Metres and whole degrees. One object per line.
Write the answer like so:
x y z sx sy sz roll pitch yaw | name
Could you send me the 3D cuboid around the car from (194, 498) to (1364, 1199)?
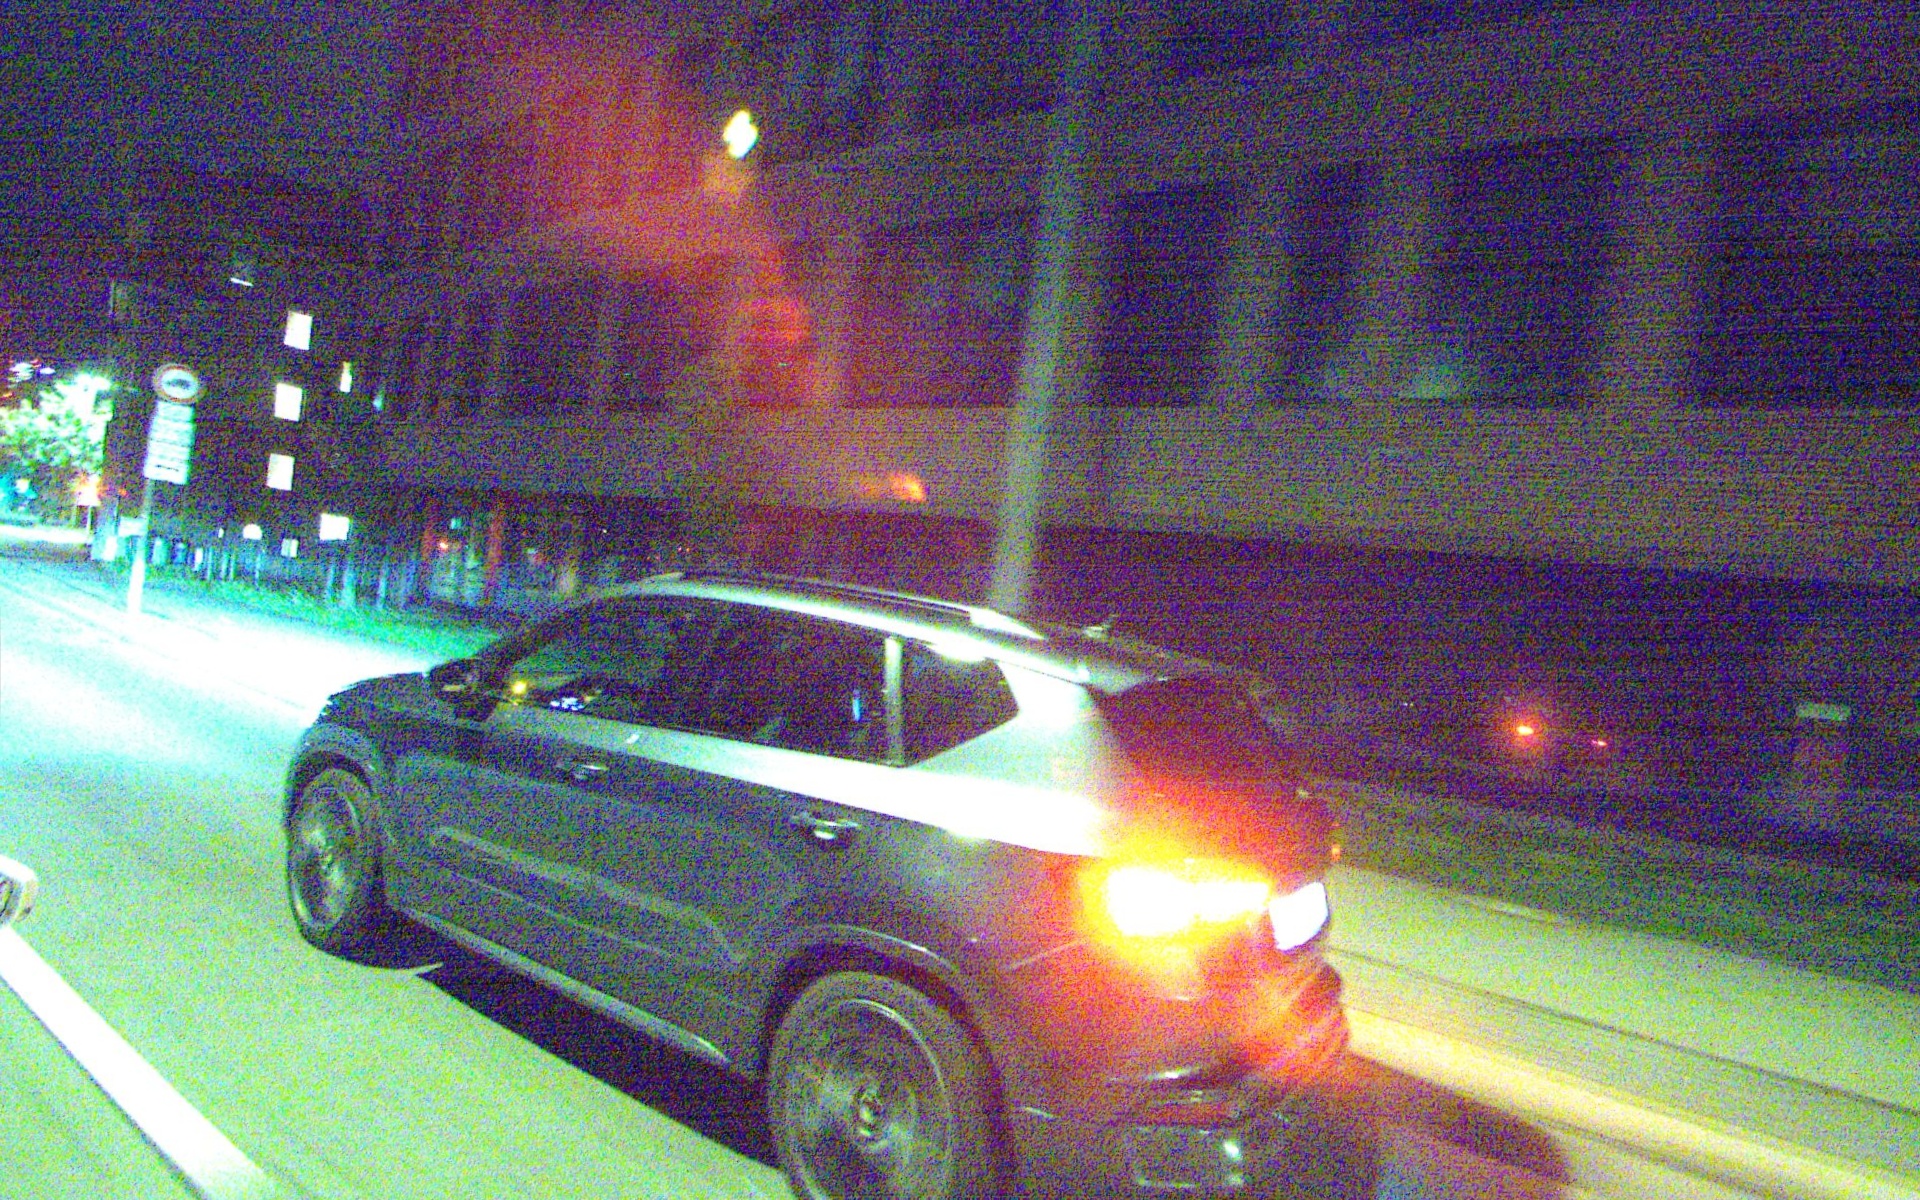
-0.916 0.651 3.786 4.161 1.628 1.673 6 -3 33 | car
